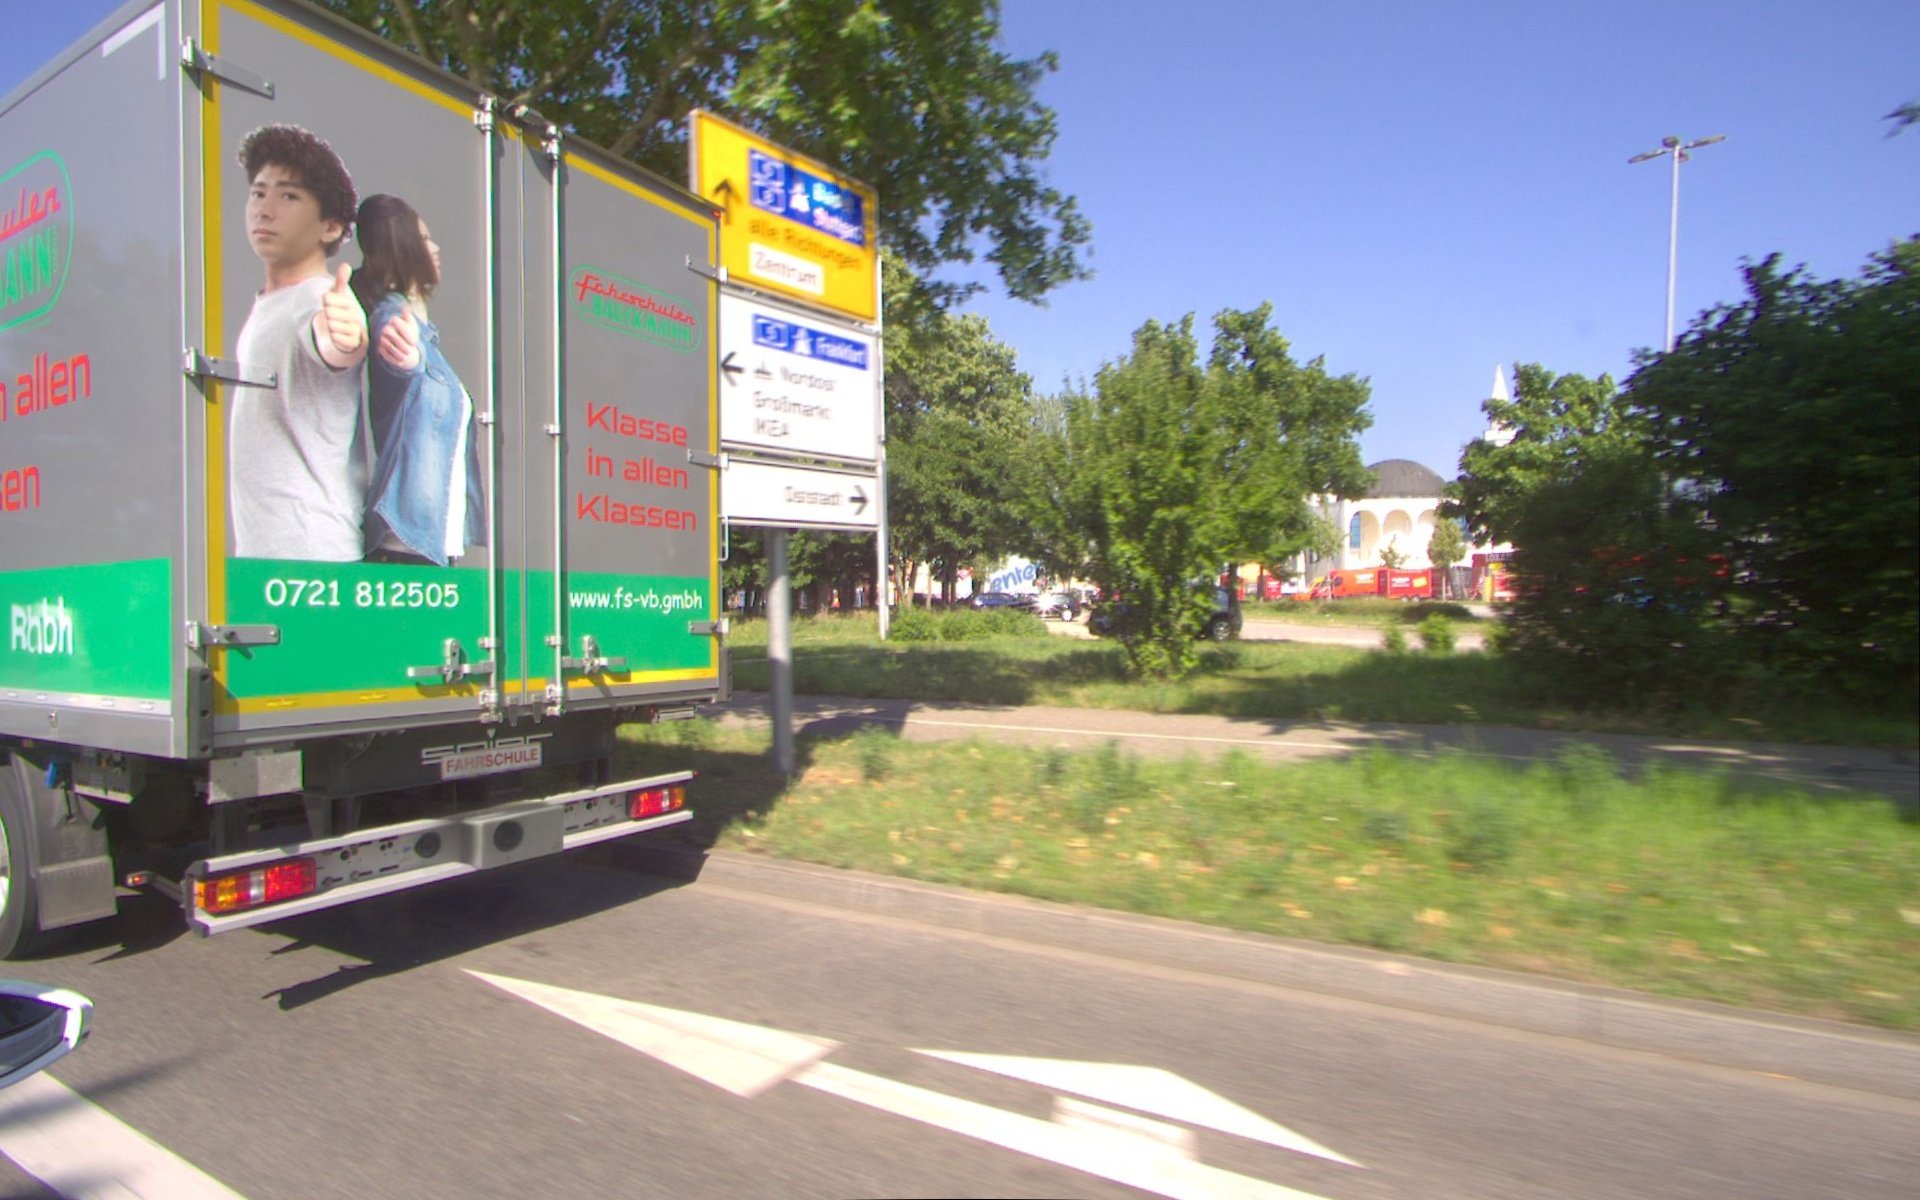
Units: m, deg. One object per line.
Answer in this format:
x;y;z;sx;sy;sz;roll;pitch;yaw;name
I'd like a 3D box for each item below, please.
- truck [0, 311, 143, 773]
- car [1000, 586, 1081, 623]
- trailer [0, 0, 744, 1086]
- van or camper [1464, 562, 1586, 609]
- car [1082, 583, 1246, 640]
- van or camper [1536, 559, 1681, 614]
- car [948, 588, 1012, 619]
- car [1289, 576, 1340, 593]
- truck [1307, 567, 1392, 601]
-11.995;-0.390;10.531;8.600;3.940;2.723;-2;0;33;truck
4.020;0.239;49.723;3.922;1.705;2.001;-1;-2;5;car
-5.105;-0.445;6.125;7.625;3.928;2.731;-2;0;32;trailer
37.724;-0.946;66.885;7.146;2.979;2.001;0;-1;-4;van or camper
5.355;0.321;26.652;3.922;1.438;1.907;0;-2;-1;car
37.090;-0.754;57.360;7.146;2.979;2.001;0;-1;-4;van or camper
1.322;0.224;64.080;3.922;1.861;2.001;-1;-2;5;car
39.865;-1.726;112.675;5.045;1.777;2.001;-1;-2;4;car
29.222;-1.185;75.224;5.669;2.443;2.001;0;-1;-3;truck
